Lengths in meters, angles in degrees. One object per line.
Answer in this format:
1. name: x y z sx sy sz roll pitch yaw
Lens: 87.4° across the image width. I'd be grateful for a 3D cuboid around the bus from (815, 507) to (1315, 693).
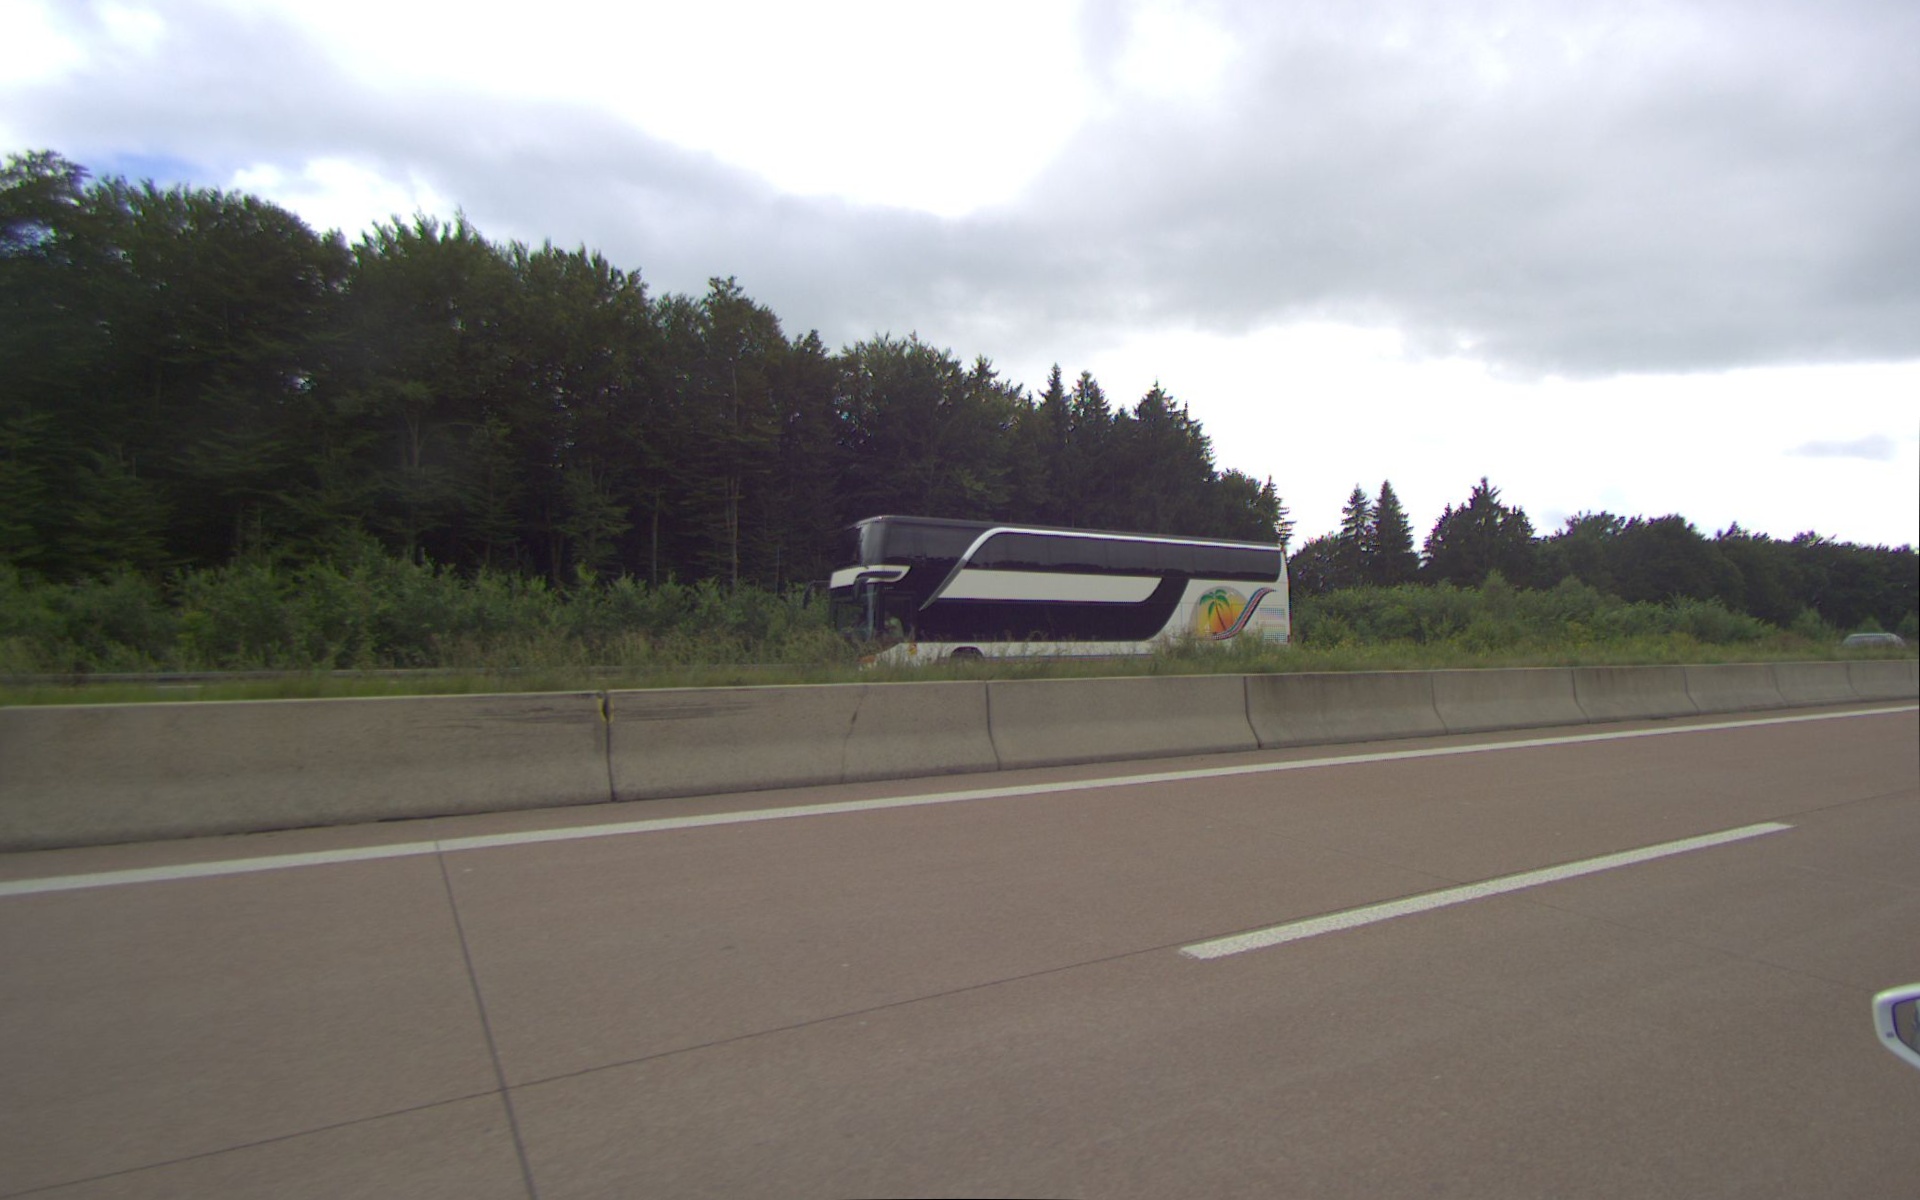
1. bus: 3.387 0.123 26.357 14.203 3.940 3.032 1 0 -32
